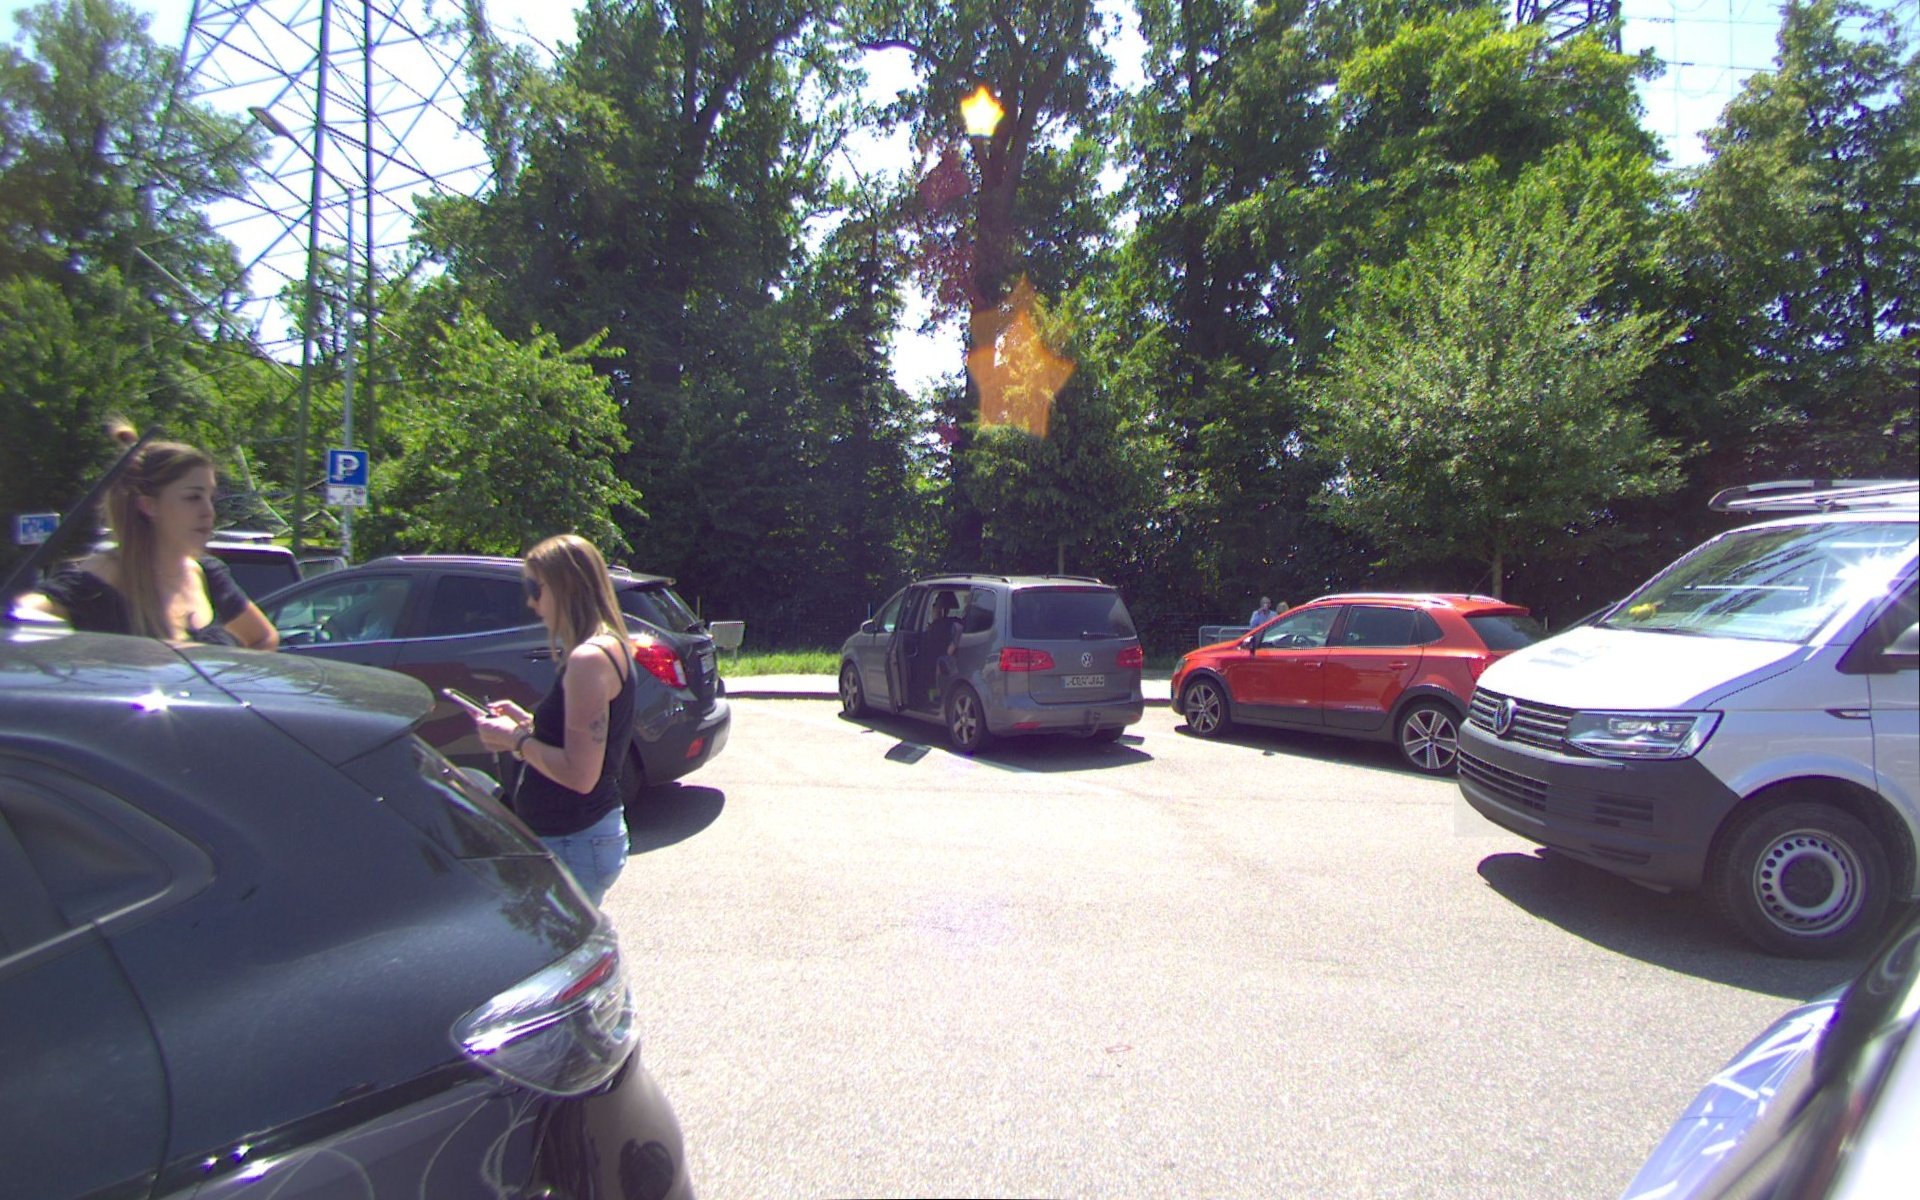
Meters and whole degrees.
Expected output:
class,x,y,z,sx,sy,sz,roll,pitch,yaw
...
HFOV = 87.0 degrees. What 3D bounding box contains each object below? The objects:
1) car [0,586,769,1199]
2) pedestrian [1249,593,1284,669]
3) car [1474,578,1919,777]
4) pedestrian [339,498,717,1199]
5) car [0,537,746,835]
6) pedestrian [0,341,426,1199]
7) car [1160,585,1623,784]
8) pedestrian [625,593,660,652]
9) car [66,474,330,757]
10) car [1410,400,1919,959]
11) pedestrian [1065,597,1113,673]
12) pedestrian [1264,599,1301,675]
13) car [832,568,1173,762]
class,x,y,z,sx,sy,sz,roll,pitch,yaw
car,-2.120,0.720,0.587,1.615,1.503,3.706,0,-1,44
pedestrian,5.763,0.579,19.050,0.495,1.393,0.491,1,-1,0
car,7.247,0.579,9.675,1.727,1.566,3.806,0,1,-39
pedestrian,-1.036,0.580,2.566,0.637,1.606,0.654,1,-1,3
car,-3.534,0.488,6.688,3.968,1.644,1.852,1,0,-6
pedestrian,-1.932,0.444,2.427,0.760,1.896,0.916,1,-1,3
car,3.855,0.608,9.642,1.604,1.476,3.810,0,1,-34
pedestrian,-6.677,0.468,21.304,0.550,1.229,0.599,1,-1,-1
car,-8.058,0.092,10.627,1.885,2.353,4.089,0,1,-40
car,5.234,0.330,4.844,5.216,2.177,1.998,1,-1,4
pedestrian,2.143,0.578,16.861,0.660,1.235,0.682,1,-2,-5
pedestrian,5.696,0.643,17.896,0.495,1.316,0.491,1,-1,0
car,0.225,0.504,10.550,1.717,1.611,3.961,0,1,-30
